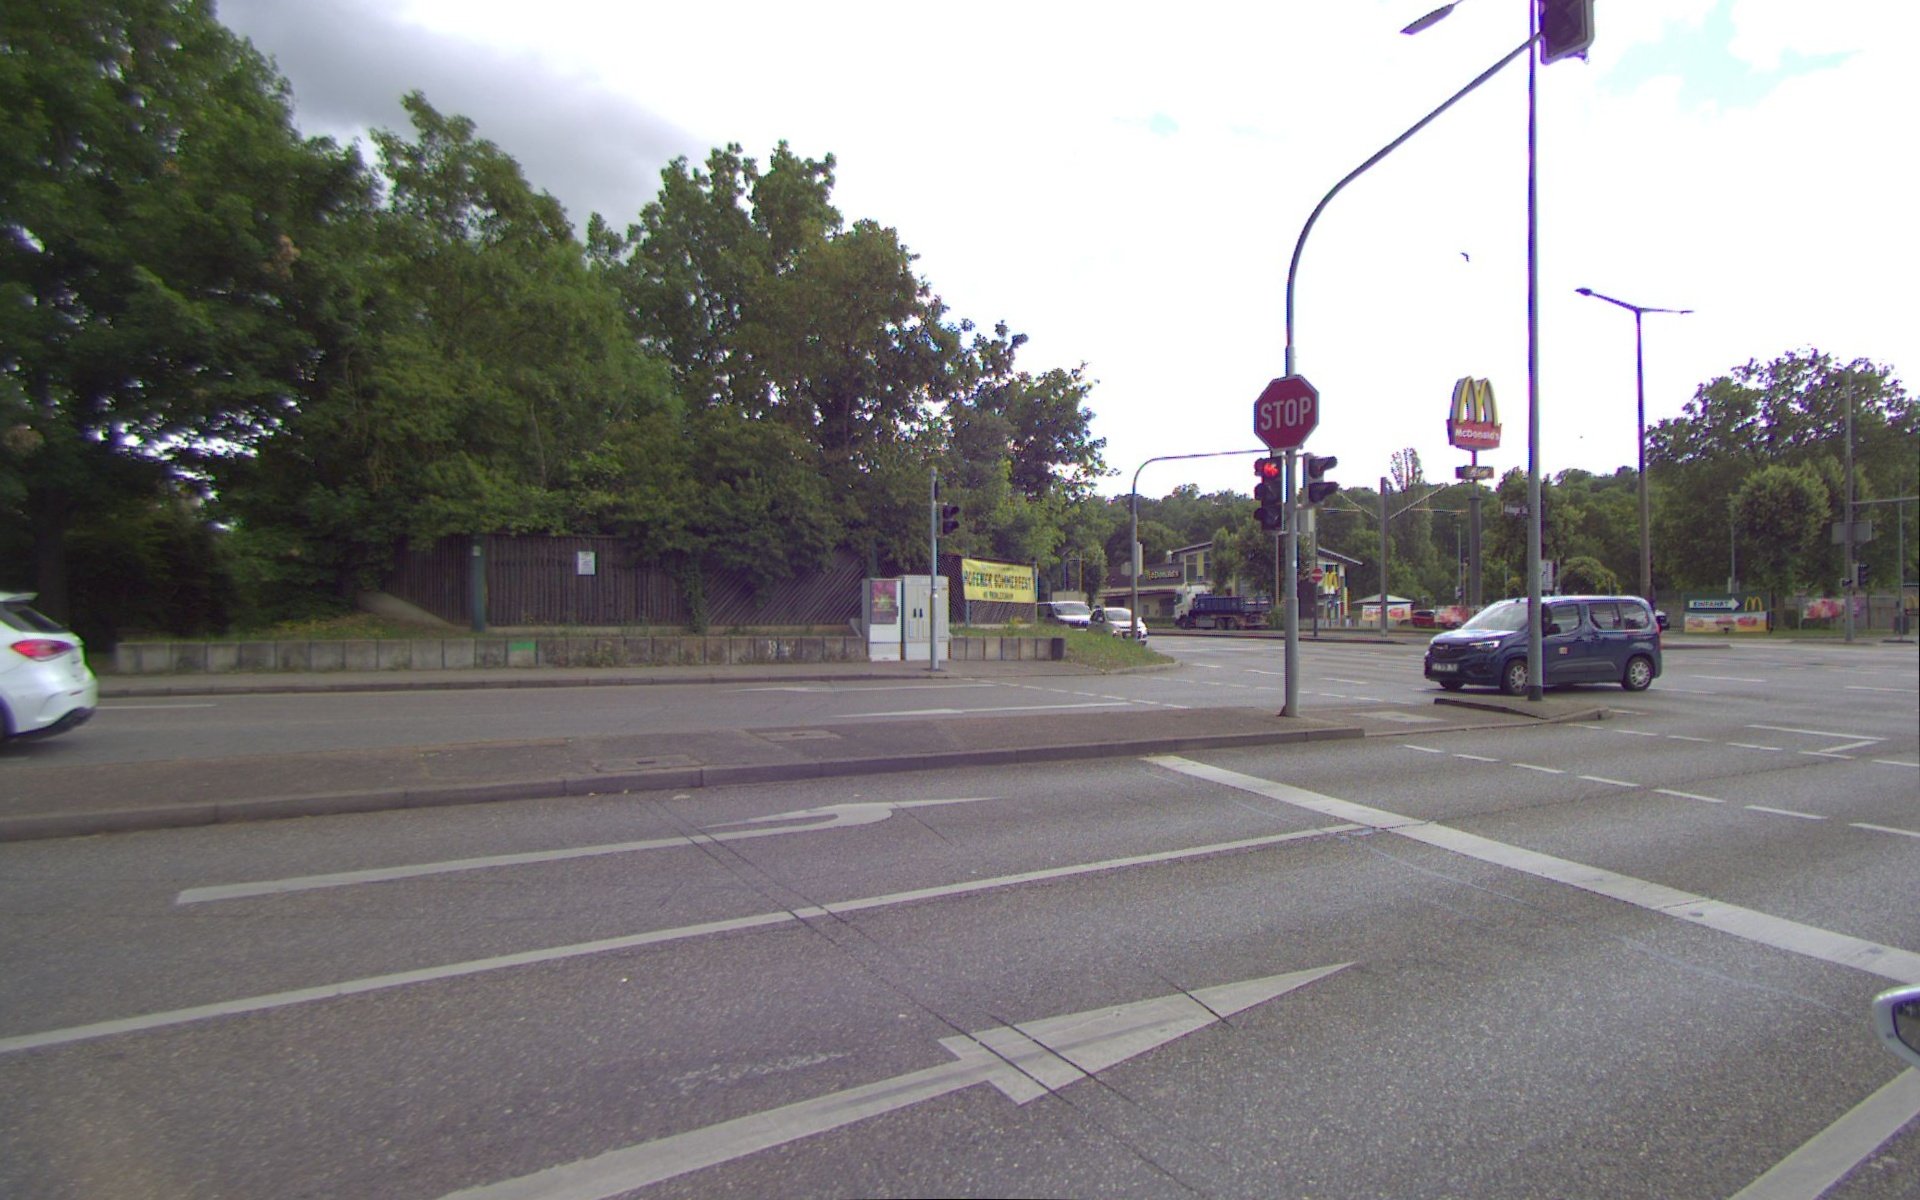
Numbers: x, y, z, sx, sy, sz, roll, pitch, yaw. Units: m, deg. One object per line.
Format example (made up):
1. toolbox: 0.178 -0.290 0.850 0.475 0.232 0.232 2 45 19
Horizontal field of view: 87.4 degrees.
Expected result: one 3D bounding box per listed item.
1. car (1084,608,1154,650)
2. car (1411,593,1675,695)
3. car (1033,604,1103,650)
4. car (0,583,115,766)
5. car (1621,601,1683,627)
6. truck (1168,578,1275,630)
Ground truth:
1. car: 6.282 1.113 39.928 1.639 1.595 3.017 0 -1 -16
2. car: 11.026 0.784 19.060 4.481 1.798 1.603 0 0 -14
3. car: 4.964 1.213 46.959 1.965 2.040 4.514 0 -1 -12
4. car: -9.212 0.581 7.536 4.248 1.424 1.590 0 -1 -35
5. car: 56.384 1.184 81.820 3.943 2.040 1.989 -2 -2 42
6. truck: 19.645 0.439 76.160 3.172 3.635 9.085 1 -2 -21
